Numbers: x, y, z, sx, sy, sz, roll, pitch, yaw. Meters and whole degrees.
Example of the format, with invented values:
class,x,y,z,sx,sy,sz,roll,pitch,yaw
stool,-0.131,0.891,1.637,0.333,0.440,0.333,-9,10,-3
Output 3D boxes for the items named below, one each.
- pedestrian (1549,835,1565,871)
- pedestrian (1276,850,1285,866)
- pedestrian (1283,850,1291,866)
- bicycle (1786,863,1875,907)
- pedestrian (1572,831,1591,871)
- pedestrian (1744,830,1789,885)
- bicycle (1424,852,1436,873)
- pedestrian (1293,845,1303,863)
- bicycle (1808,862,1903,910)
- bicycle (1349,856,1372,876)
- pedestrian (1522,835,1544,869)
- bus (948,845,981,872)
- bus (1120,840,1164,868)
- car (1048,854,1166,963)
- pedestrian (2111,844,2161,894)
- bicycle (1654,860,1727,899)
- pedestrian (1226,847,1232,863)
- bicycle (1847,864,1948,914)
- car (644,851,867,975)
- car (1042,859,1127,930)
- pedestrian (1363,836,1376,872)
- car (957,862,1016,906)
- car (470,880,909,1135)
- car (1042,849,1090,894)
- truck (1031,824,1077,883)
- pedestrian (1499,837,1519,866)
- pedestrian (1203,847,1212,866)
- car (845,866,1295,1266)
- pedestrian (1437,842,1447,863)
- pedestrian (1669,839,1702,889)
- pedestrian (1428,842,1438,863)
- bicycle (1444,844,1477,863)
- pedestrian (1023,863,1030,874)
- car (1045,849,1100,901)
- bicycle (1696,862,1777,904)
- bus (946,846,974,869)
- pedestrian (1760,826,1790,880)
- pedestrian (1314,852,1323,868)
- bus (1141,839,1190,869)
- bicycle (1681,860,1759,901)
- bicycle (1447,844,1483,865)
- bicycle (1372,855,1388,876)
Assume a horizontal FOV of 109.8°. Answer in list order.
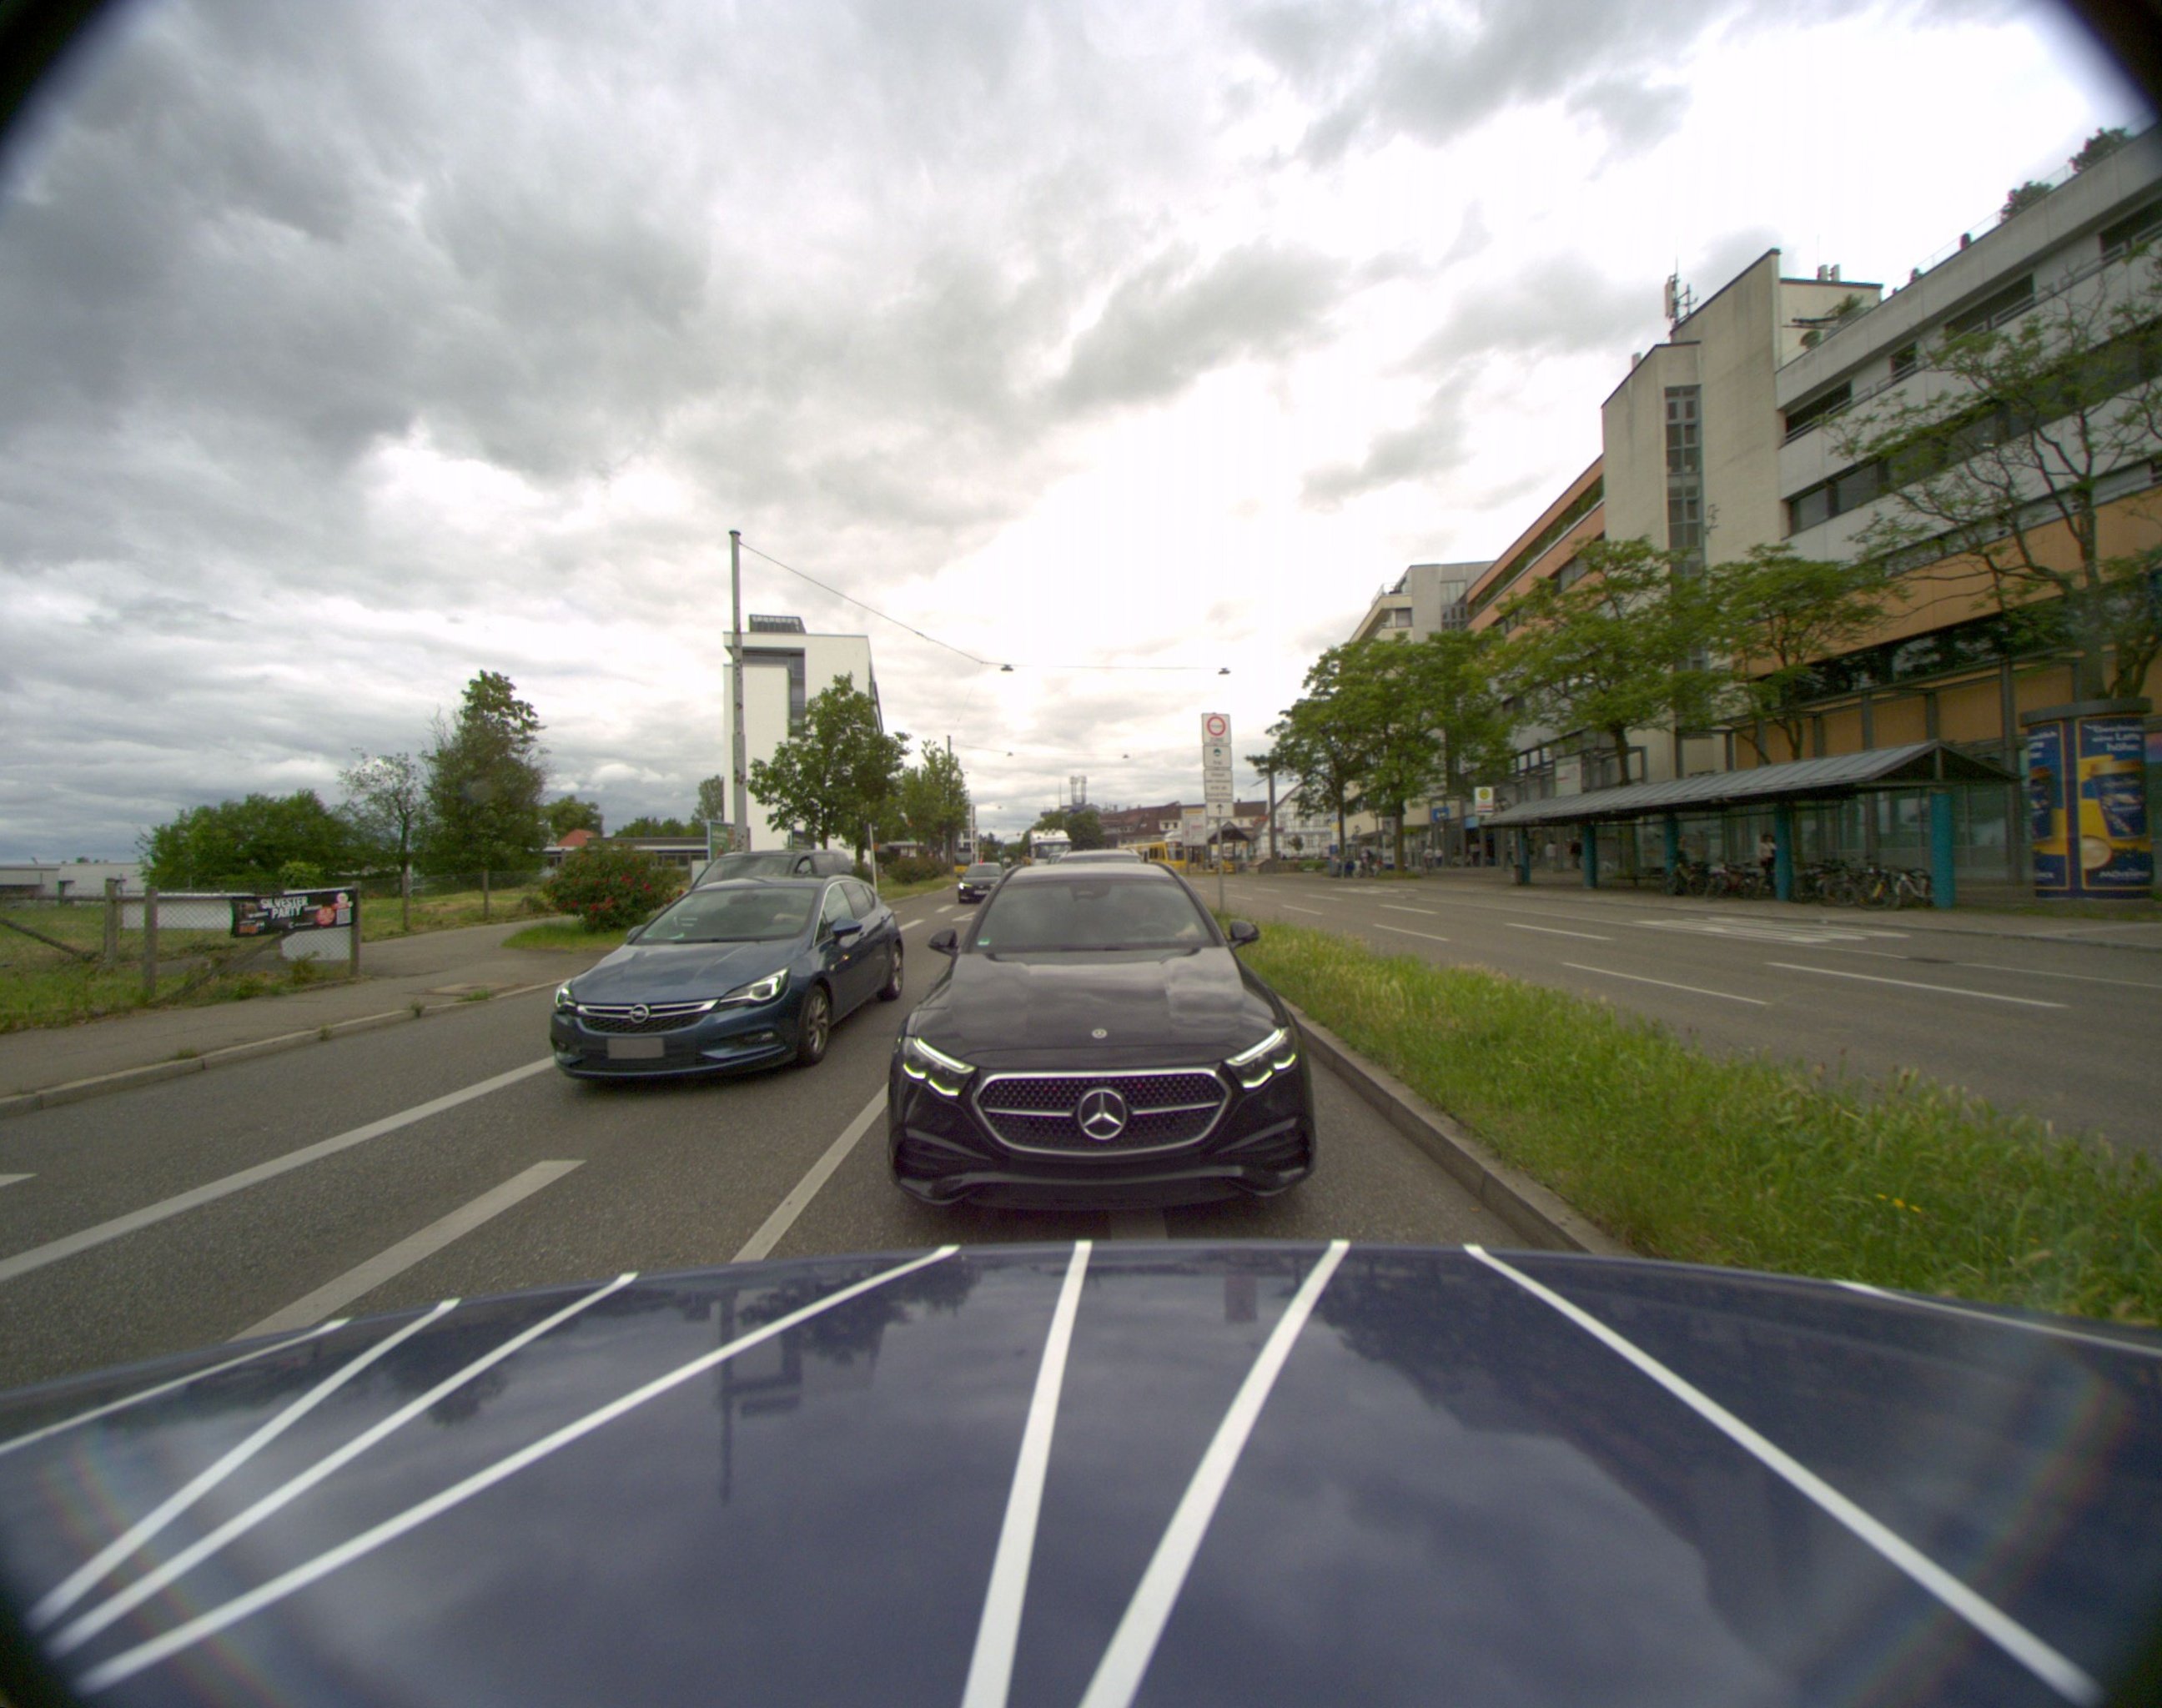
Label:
class,x,y,z,sx,sy,sz,roll,pitch,yaw
pedestrian,24.093,-0.045,38.489,0.648,1.799,0.761,0,1,34
pedestrian,19.421,0.400,73.992,0.577,1.533,0.583,-1,1,-8
pedestrian,20.121,0.373,74.115,0.577,1.533,0.583,-1,1,-8
bicycle,19.021,0.777,19.308,1.735,1.035,0.549,-2,1,-2
pedestrian,25.493,-0.150,38.685,0.566,2.002,0.611,-1,1,6
pedestrian,20.873,0.113,23.147,0.678,1.640,0.721,-2,1,-3
bicycle,19.481,0.472,42.385,0.593,1.119,2.040,0,1,24
pedestrian,24.043,0.000,84.098,0.879,2.002,1.010,-1,1,6
bicycle,18.622,0.754,18.284,1.735,1.035,0.549,-3,1,-2
bicycle,15.473,0.658,42.017,0.593,1.071,2.041,0,1,38
pedestrian,24.753,-0.109,41.618,0.765,1.835,0.752,-1,1,1
bus,-12.825,0.398,82.724,2.969,2.616,12.137,-2,1,-11
bus,6.926,0.010,87.951,2.556,2.966,9.790,-1,0,-11
car,0.389,0.824,13.481,1.734,1.601,4.000,-2,0,0
pedestrian,25.241,0.357,18.148,0.422,1.174,0.622,-1,1,-9
bicycle,18.201,0.751,22.703,1.735,1.035,0.549,-3,1,-2
pedestrian,19.001,0.117,97.524,0.742,2.002,0.939,-1,1,11
bicycle,18.681,0.787,17.398,1.735,1.035,0.549,-2,1,-2
car,-5.675,0.899,14.047,1.954,1.829,4.709,-3,0,1
car,0.041,0.914,18.907,1.865,1.520,3.999,-1,0,-1
pedestrian,18.811,-0.012,49.621,0.590,2.294,0.608,-1,1,-2
car,-3.505,1.083,28.792,1.665,1.448,3.921,-2,0,1
car,-2.926,1.045,6.814,1.826,1.402,4.000,-2,0,0
car,-0.638,0.705,33.500,1.930,1.753,3.999,-2,1,-1
truck,-1.767,-0.065,46.031,2.490,3.258,7.428,-1,0,-4
pedestrian,25.326,-0.163,45.008,0.765,1.673,0.752,-1,1,1
pedestrian,12.927,0.247,77.440,0.637,2.002,0.667,-1,1,-20
car,-0.055,0.887,5.188,1.793,1.507,4.249,-1,0,0
pedestrian,25.715,-0.128,54.160,0.555,1.485,0.454,-1,1,8
pedestrian,21.632,0.344,27.180,0.531,1.776,0.770,-1,1,-7
pedestrian,25.127,-0.105,54.235,0.555,1.485,0.454,-1,1,8
bicycle,27.750,-0.023,55.552,2.138,1.358,0.620,-2,1,26
pedestrian,-10.350,2.663,143.980,0.975,2.002,0.991,-2,1,-13
car,-0.371,0.722,28.343,1.865,1.773,3.999,-1,0,-2
bicycle,17.944,0.793,20.810,1.735,1.035,0.549,-3,1,-2
bus,-15.232,0.353,95.047,2.969,2.616,12.911,-2,1,-11
pedestrian,26.260,-0.037,28.752,0.566,2.002,0.611,-1,1,6
pedestrian,22.399,0.541,71.676,0.577,1.533,0.583,-1,1,-8
bus,8.690,0.010,79.014,2.556,2.966,8.498,-1,0,-11
bicycle,18.279,0.746,21.743,1.735,1.035,0.549,-4,1,-2
bicycle,26.987,0.034,53.401,2.139,1.367,0.620,-2,1,18
bicycle,16.396,0.626,41.646,0.593,1.071,2.041,0,1,29
